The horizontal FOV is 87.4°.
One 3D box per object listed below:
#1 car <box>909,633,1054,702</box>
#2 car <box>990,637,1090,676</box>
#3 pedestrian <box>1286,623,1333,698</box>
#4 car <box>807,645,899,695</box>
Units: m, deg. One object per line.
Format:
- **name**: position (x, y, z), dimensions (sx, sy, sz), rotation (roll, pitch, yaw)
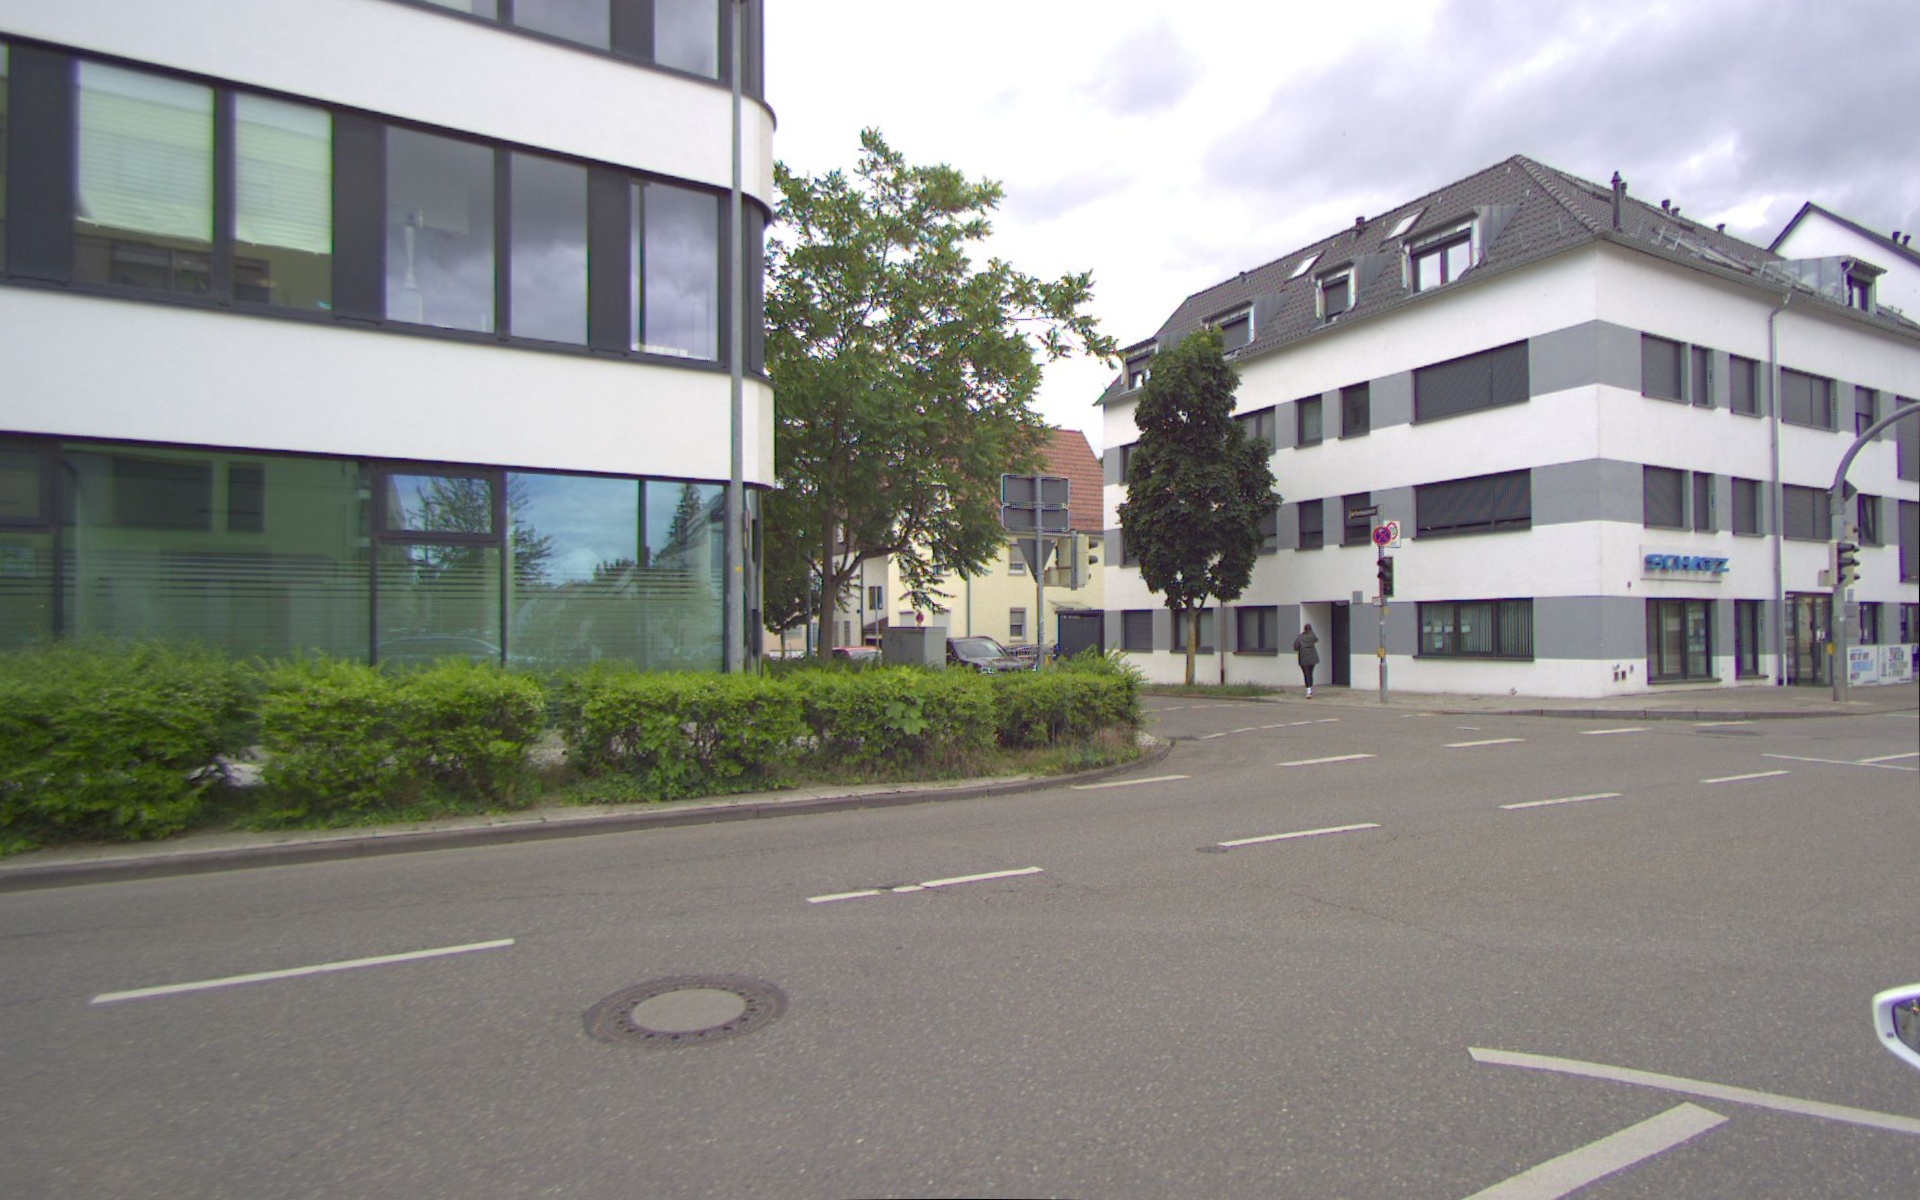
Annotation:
- **car**: position (0.460, 1.739, 26.003), dimensions (1.890, 1.552, 3.968), rotation (-2, -2, -31)
- **car**: position (3.388, 2.361, 42.242), dimensions (3.953, 1.547, 1.672), rotation (1, -3, -30)
- **pedestrian**: position (8.178, 1.403, 23.541), dimensions (0.866, 1.692, 0.814), rotation (-2, 0, 9)
- **car**: position (-3.685, 2.342, 33.965), dimensions (1.665, 1.547, 3.969), rotation (0, -3, -30)
